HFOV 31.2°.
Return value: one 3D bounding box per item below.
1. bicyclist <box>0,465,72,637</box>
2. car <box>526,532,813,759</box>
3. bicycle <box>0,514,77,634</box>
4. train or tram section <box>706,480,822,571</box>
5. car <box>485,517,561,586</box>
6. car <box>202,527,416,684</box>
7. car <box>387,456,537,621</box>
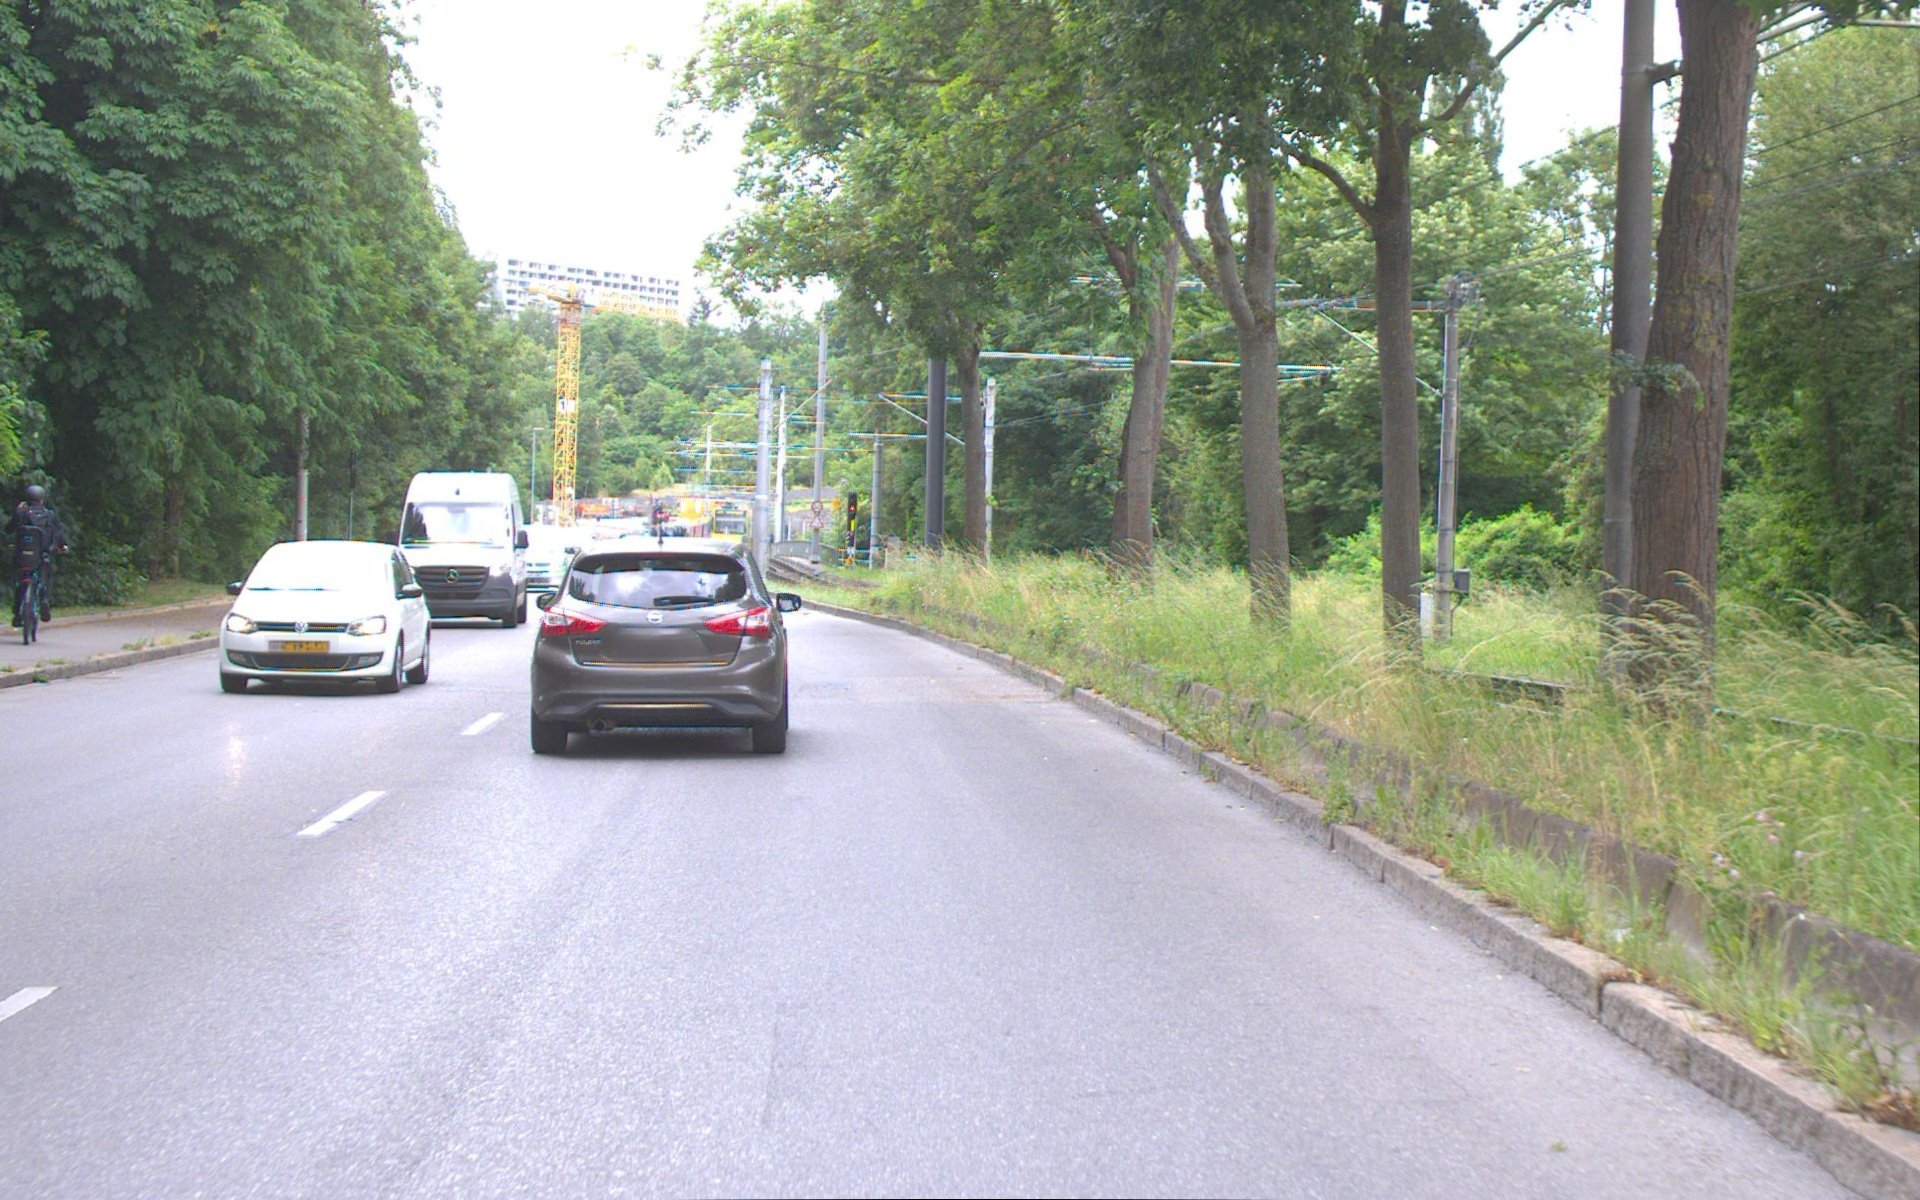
[{"bbox_3d":[-10.736,-0.567,39.879,0.686,1.941,0.836,2,0,-9],"label":"bicyclist"},{"bbox_3d":[-2.201,0.266,25.133,1.829,1.504,4.001,-1,1,-8],"label":"car"},{"bbox_3d":[-10.794,-0.325,40.140,0.698,1.327,2.281,3,1,-10],"label":"bicycle"},{"bbox_3d":[-13.414,-4.859,231.973,3.027,5.165,23.061,3,-2,-15],"label":"train or tram section"},{"bbox_3d":[-11.599,-1.314,91.469,1.856,1.793,4.558,0,1,-5],"label":"car"},{"bbox_3d":[-6.299,0.031,33.603,1.724,1.423,4.001,1,1,-6],"label":"car"},{"bbox_3d":[-8.320,-1.042,57.854,1.993,2.617,5.896,0,1,-3],"label":"car"}]
